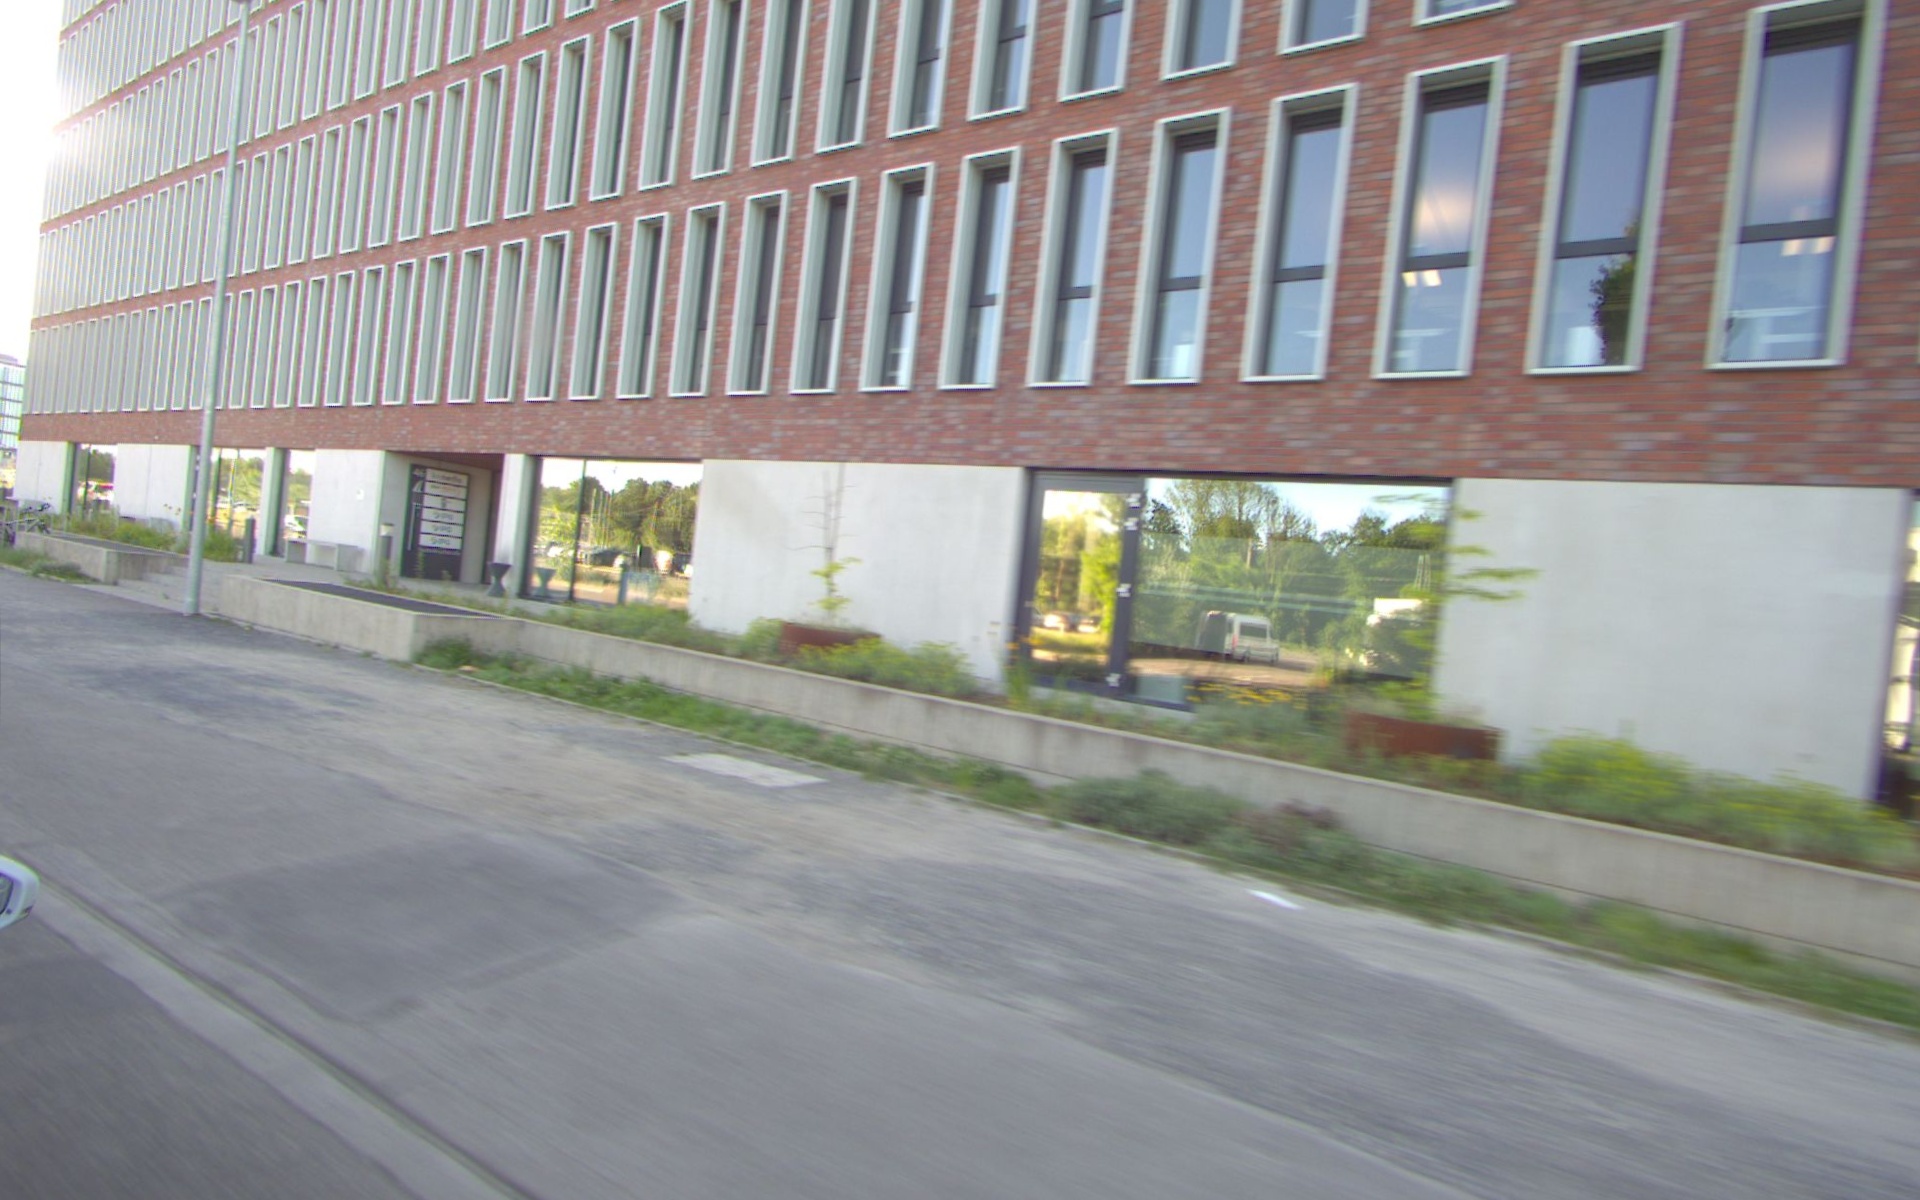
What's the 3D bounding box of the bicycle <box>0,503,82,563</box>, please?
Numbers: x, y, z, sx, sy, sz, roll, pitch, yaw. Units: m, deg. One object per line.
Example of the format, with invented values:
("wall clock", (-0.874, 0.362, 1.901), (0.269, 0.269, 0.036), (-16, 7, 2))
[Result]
("bicycle", (-20.841, -1.506, 22.381), (0.368, 1.185, 1.935), (7, 1, 26))
